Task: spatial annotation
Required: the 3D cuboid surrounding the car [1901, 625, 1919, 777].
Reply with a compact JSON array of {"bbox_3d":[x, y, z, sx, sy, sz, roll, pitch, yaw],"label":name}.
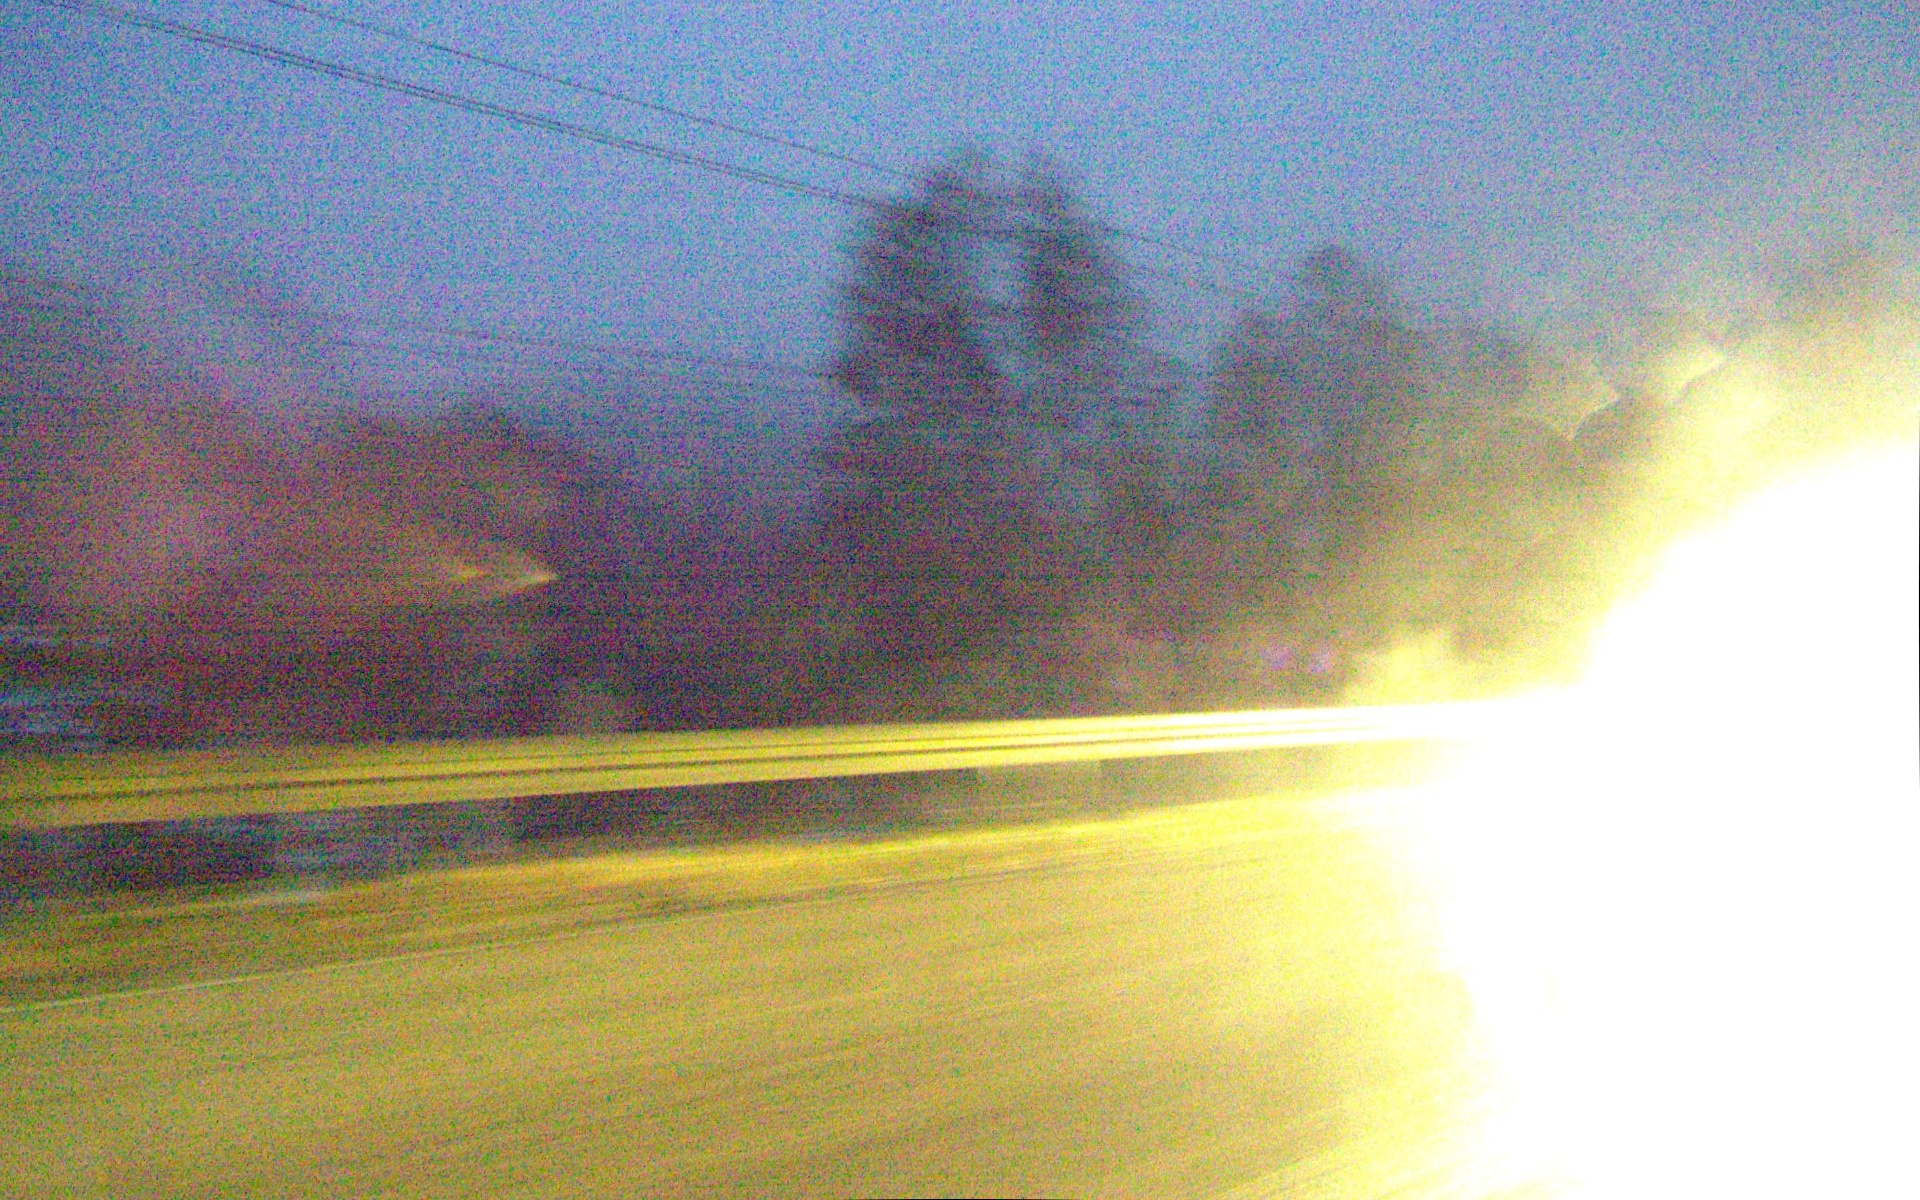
[{"bbox_3d":[11.618,1.045,10.173,4.208,1.483,1.908,2,-1,-30],"label":"car"}]
